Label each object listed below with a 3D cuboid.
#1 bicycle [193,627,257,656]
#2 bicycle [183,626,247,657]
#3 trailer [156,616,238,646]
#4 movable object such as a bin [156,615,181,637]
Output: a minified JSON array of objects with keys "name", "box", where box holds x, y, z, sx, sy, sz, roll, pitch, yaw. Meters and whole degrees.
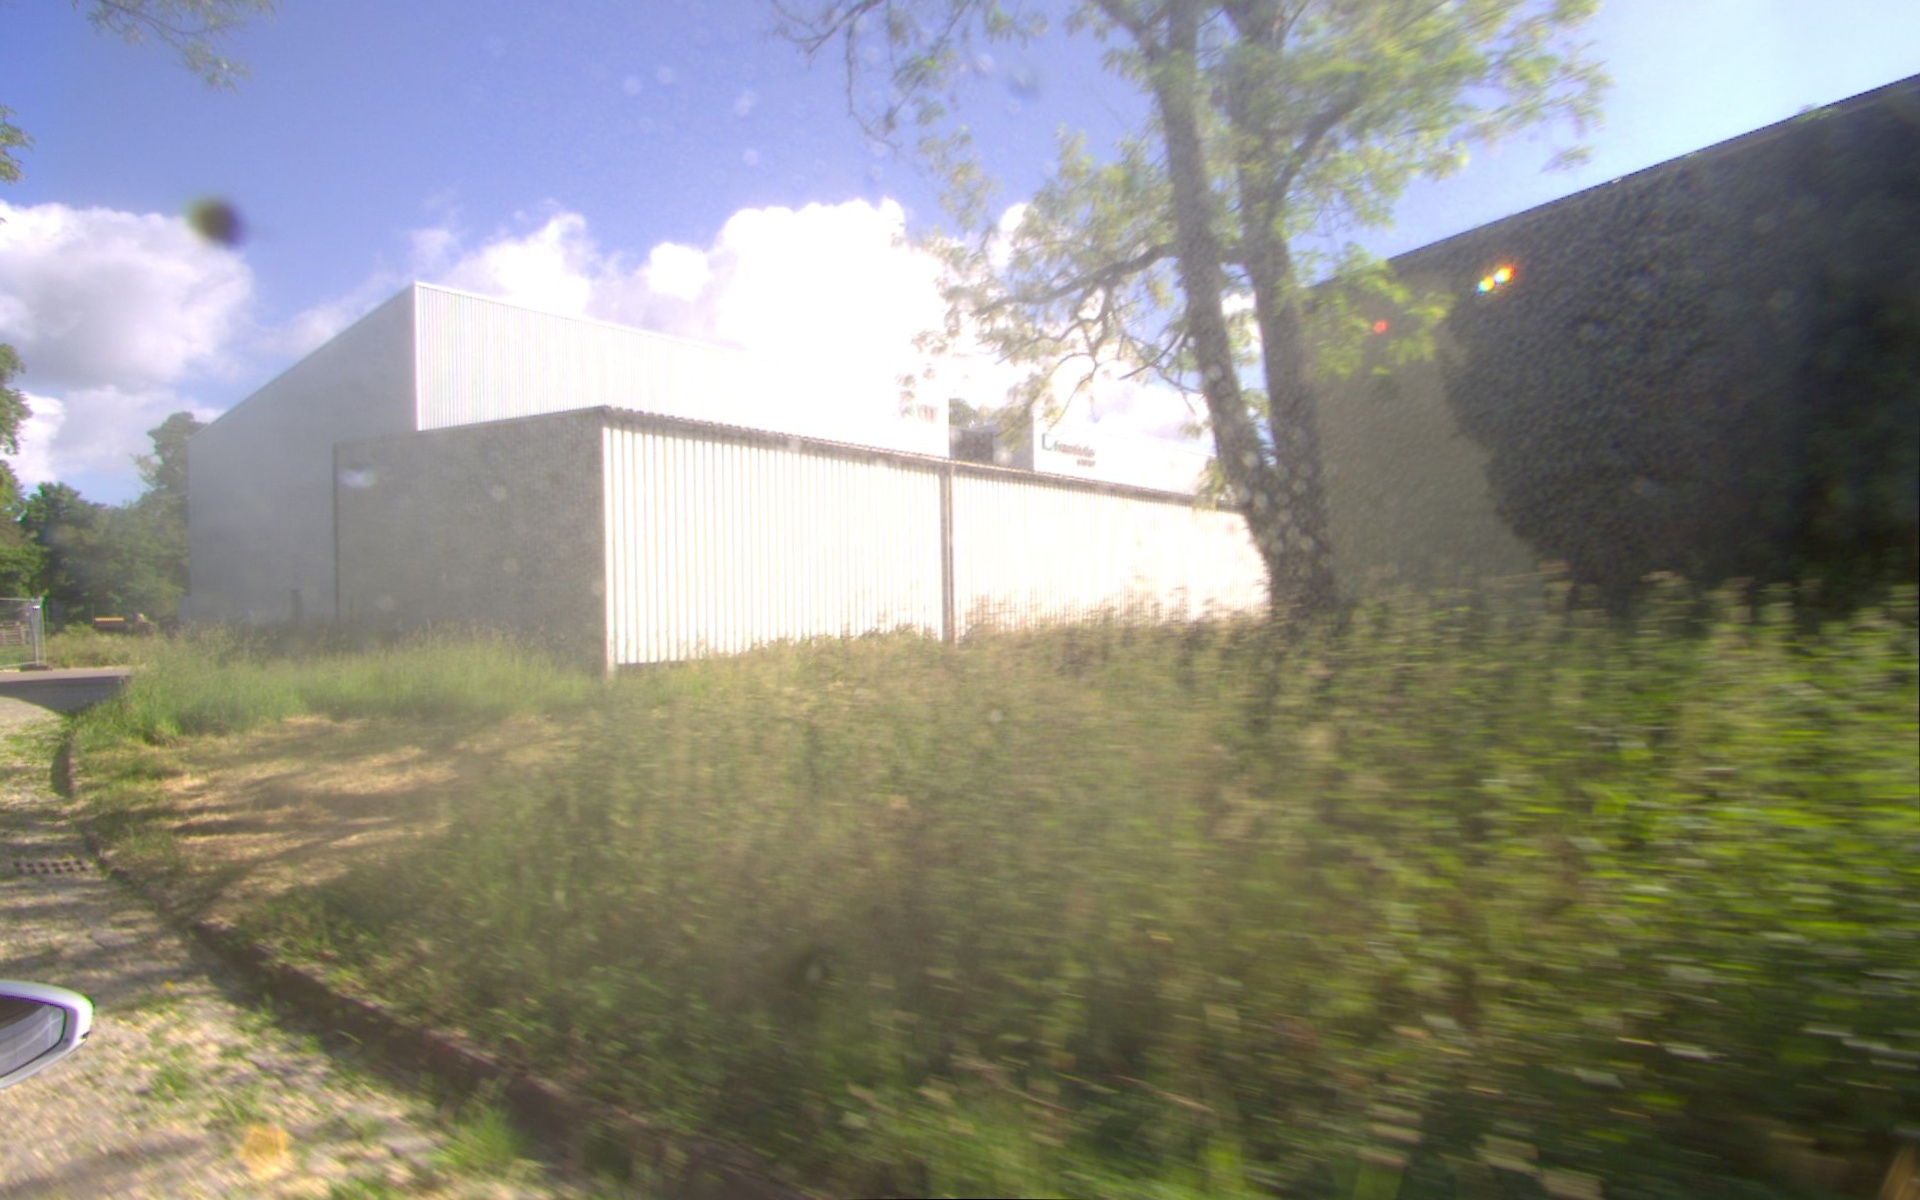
[{"name":"bicycle","box":[-27.285,1.526,37.204,0.428,0.991,1.873,0,0,42]},{"name":"bicycle","box":[-28.383,1.582,38.173,0.428,1.096,1.873,0,0,42]},{"name":"trailer","box":[-33.682,1.355,44.237,1.232,1.215,2.696,-1,0,42]},{"name":"movable object such as a bin","box":[-64.368,2.095,81.421,1.354,1.678,2.814,-1,0,-44]}]
